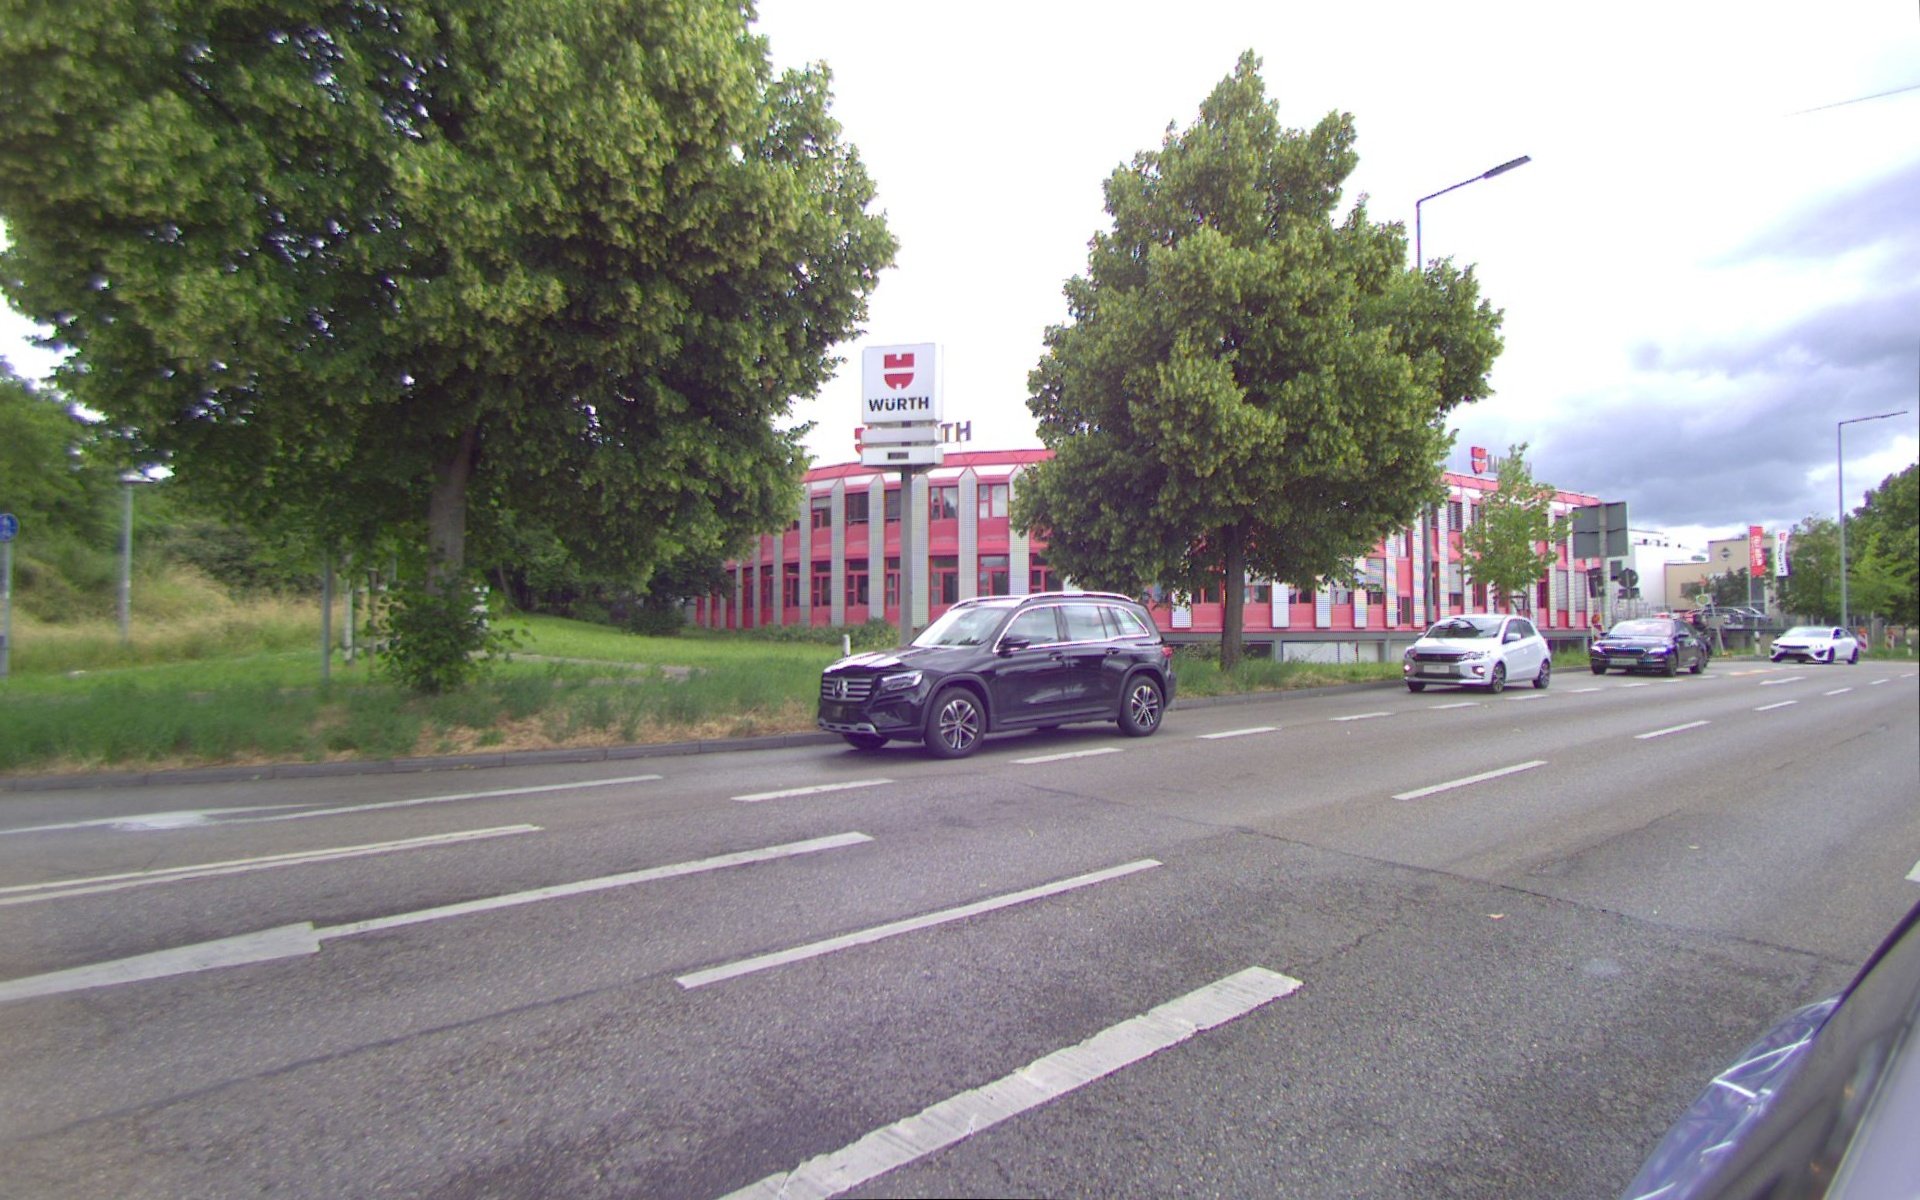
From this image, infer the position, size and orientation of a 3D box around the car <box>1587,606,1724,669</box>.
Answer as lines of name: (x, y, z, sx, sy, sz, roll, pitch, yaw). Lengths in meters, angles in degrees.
car: (17.986, 0.971, 26.094, 4.446, 1.464, 1.784, 3, -1, -40)

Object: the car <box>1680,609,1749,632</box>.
car: (61.813, 1.680, 82.954, 1.752, 1.776, 4.247, 0, 0, -39)

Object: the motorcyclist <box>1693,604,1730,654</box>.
motorcyclist: (22.959, 0.894, 30.907, 0.748, 1.510, 0.918, -3, -3, 44)

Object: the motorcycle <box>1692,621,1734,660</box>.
motorcycle: (23.103, 1.246, 31.043, 0.748, 1.162, 1.911, -2, -3, 44)

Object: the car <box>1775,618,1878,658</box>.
car: (32.660, 1.433, 38.109, 4.391, 1.380, 1.787, 3, -3, -33)

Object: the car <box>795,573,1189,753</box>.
car: (0.485, 0.645, 11.480, 4.345, 1.671, 1.784, 1, -3, -39)

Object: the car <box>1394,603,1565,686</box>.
car: (10.153, 0.861, 19.695, 3.768, 1.462, 1.782, 3, -3, -43)
